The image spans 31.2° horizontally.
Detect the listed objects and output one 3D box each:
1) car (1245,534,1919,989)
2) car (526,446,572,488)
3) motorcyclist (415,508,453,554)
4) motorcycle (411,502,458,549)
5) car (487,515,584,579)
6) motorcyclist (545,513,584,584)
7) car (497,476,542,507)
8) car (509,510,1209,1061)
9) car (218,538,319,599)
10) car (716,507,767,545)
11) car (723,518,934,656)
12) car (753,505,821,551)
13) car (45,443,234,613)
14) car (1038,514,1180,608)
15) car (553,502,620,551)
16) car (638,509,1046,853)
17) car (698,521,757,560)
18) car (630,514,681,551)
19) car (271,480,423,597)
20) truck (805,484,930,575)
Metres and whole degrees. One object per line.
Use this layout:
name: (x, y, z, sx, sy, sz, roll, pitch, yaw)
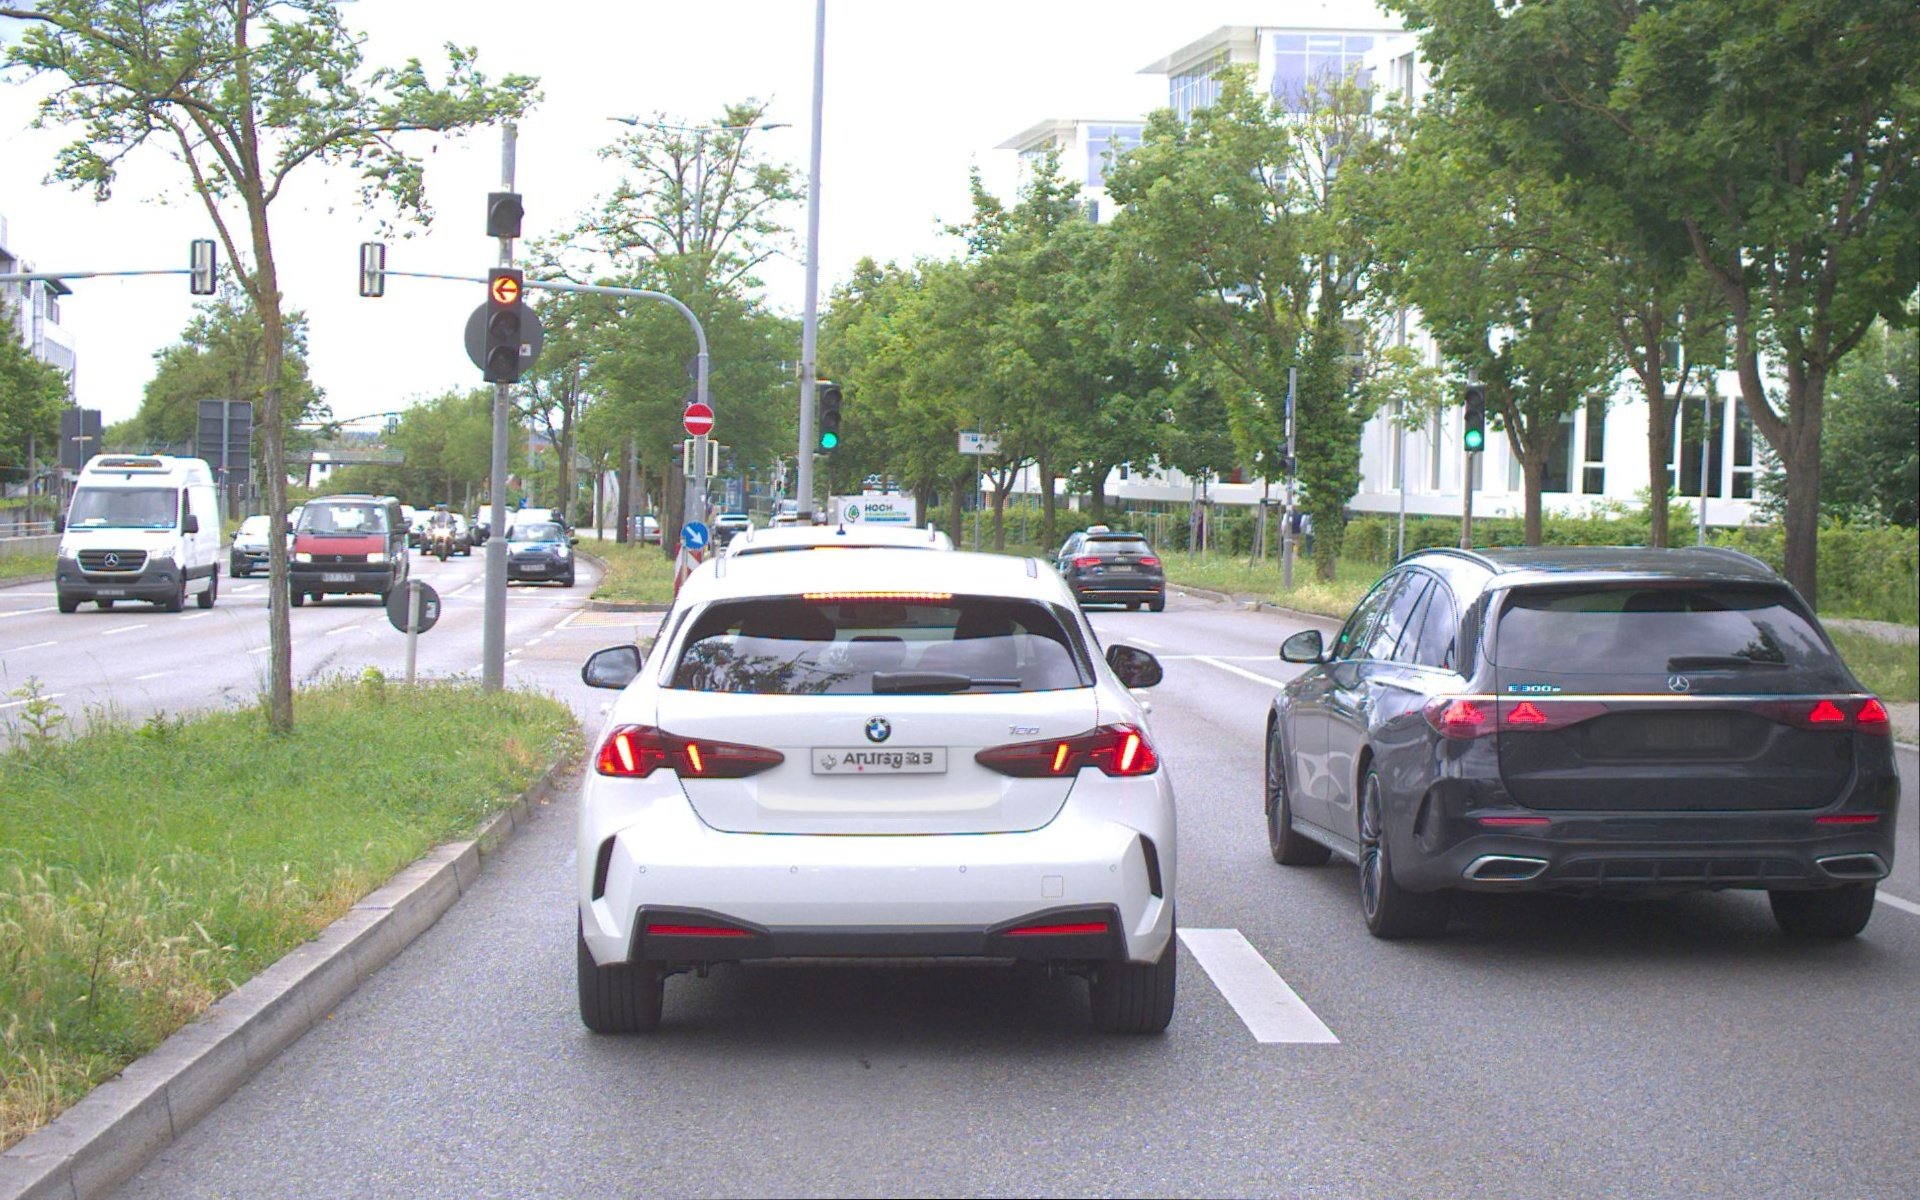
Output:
car: (2.476, 0.497, 14.064, 2.053, 1.481, 4.974, -1, 1, -1)
car: (-21.182, -6.829, 177.307, 1.993, 2.004, 4.325, 3, 1, -4)
motorcyclist: (-16.233, -2.127, 106.118, 0.910, 1.387, 1.674, 1, 1, -1)
motorcycle: (-16.238, -2.302, 106.324, 0.889, 1.393, 4.000, 1, 1, -1)
car: (-9.417, -1.194, 76.494, 1.754, 1.366, 3.780, 0, 1, -1)
motorcyclist: (-10.343, -1.359, 89.959, 0.848, 1.830, 1.259, 1, 1, -1)
car: (-24.898, -6.132, 194.451, 1.993, 1.612, 4.000, 3, 1, -1)
car: (-0.221, 0.476, 11.301, 1.863, 1.444, 4.000, 1, 1, 2)
car: (-16.611, -0.775, 82.711, 1.708, 1.414, 3.803, 0, 1, -1)
car: (-9.012, -3.055, 141.918, 1.993, 1.485, 4.001, 2, 1, -3)
car: (-1.503, -0.169, 40.688, 1.994, 1.503, 3.999, 1, 1, 5)
car: (-5.969, -2.482, 118.214, 1.993, 1.503, 4.001, 1, 1, -8)
car: (-13.715, -1.219, 57.801, 1.993, 2.625, 5.876, 3, 1, -4)
car: (2.632, -0.720, 61.585, 1.993, 1.590, 4.001, 1, 1, -5)
car: (-11.597, -2.297, 106.957, 1.708, 1.492, 3.803, 0, 1, -1)
car: (-0.588, 0.377, 19.116, 1.993, 1.666, 4.000, 1, 1, 0)
car: (-9.387, -2.422, 138.690, 1.993, 1.503, 4.001, 1, 1, -9)
car: (-12.924, -2.888, 146.081, 1.993, 1.485, 4.001, 2, 1, -3)
car: (-11.067, -1.067, 62.399, 1.935, 1.911, 4.973, -1, -1, -1)
truck: (-2.754, -2.040, 100.400, 2.858, 2.511, 6.289, 1, 1, -9)
